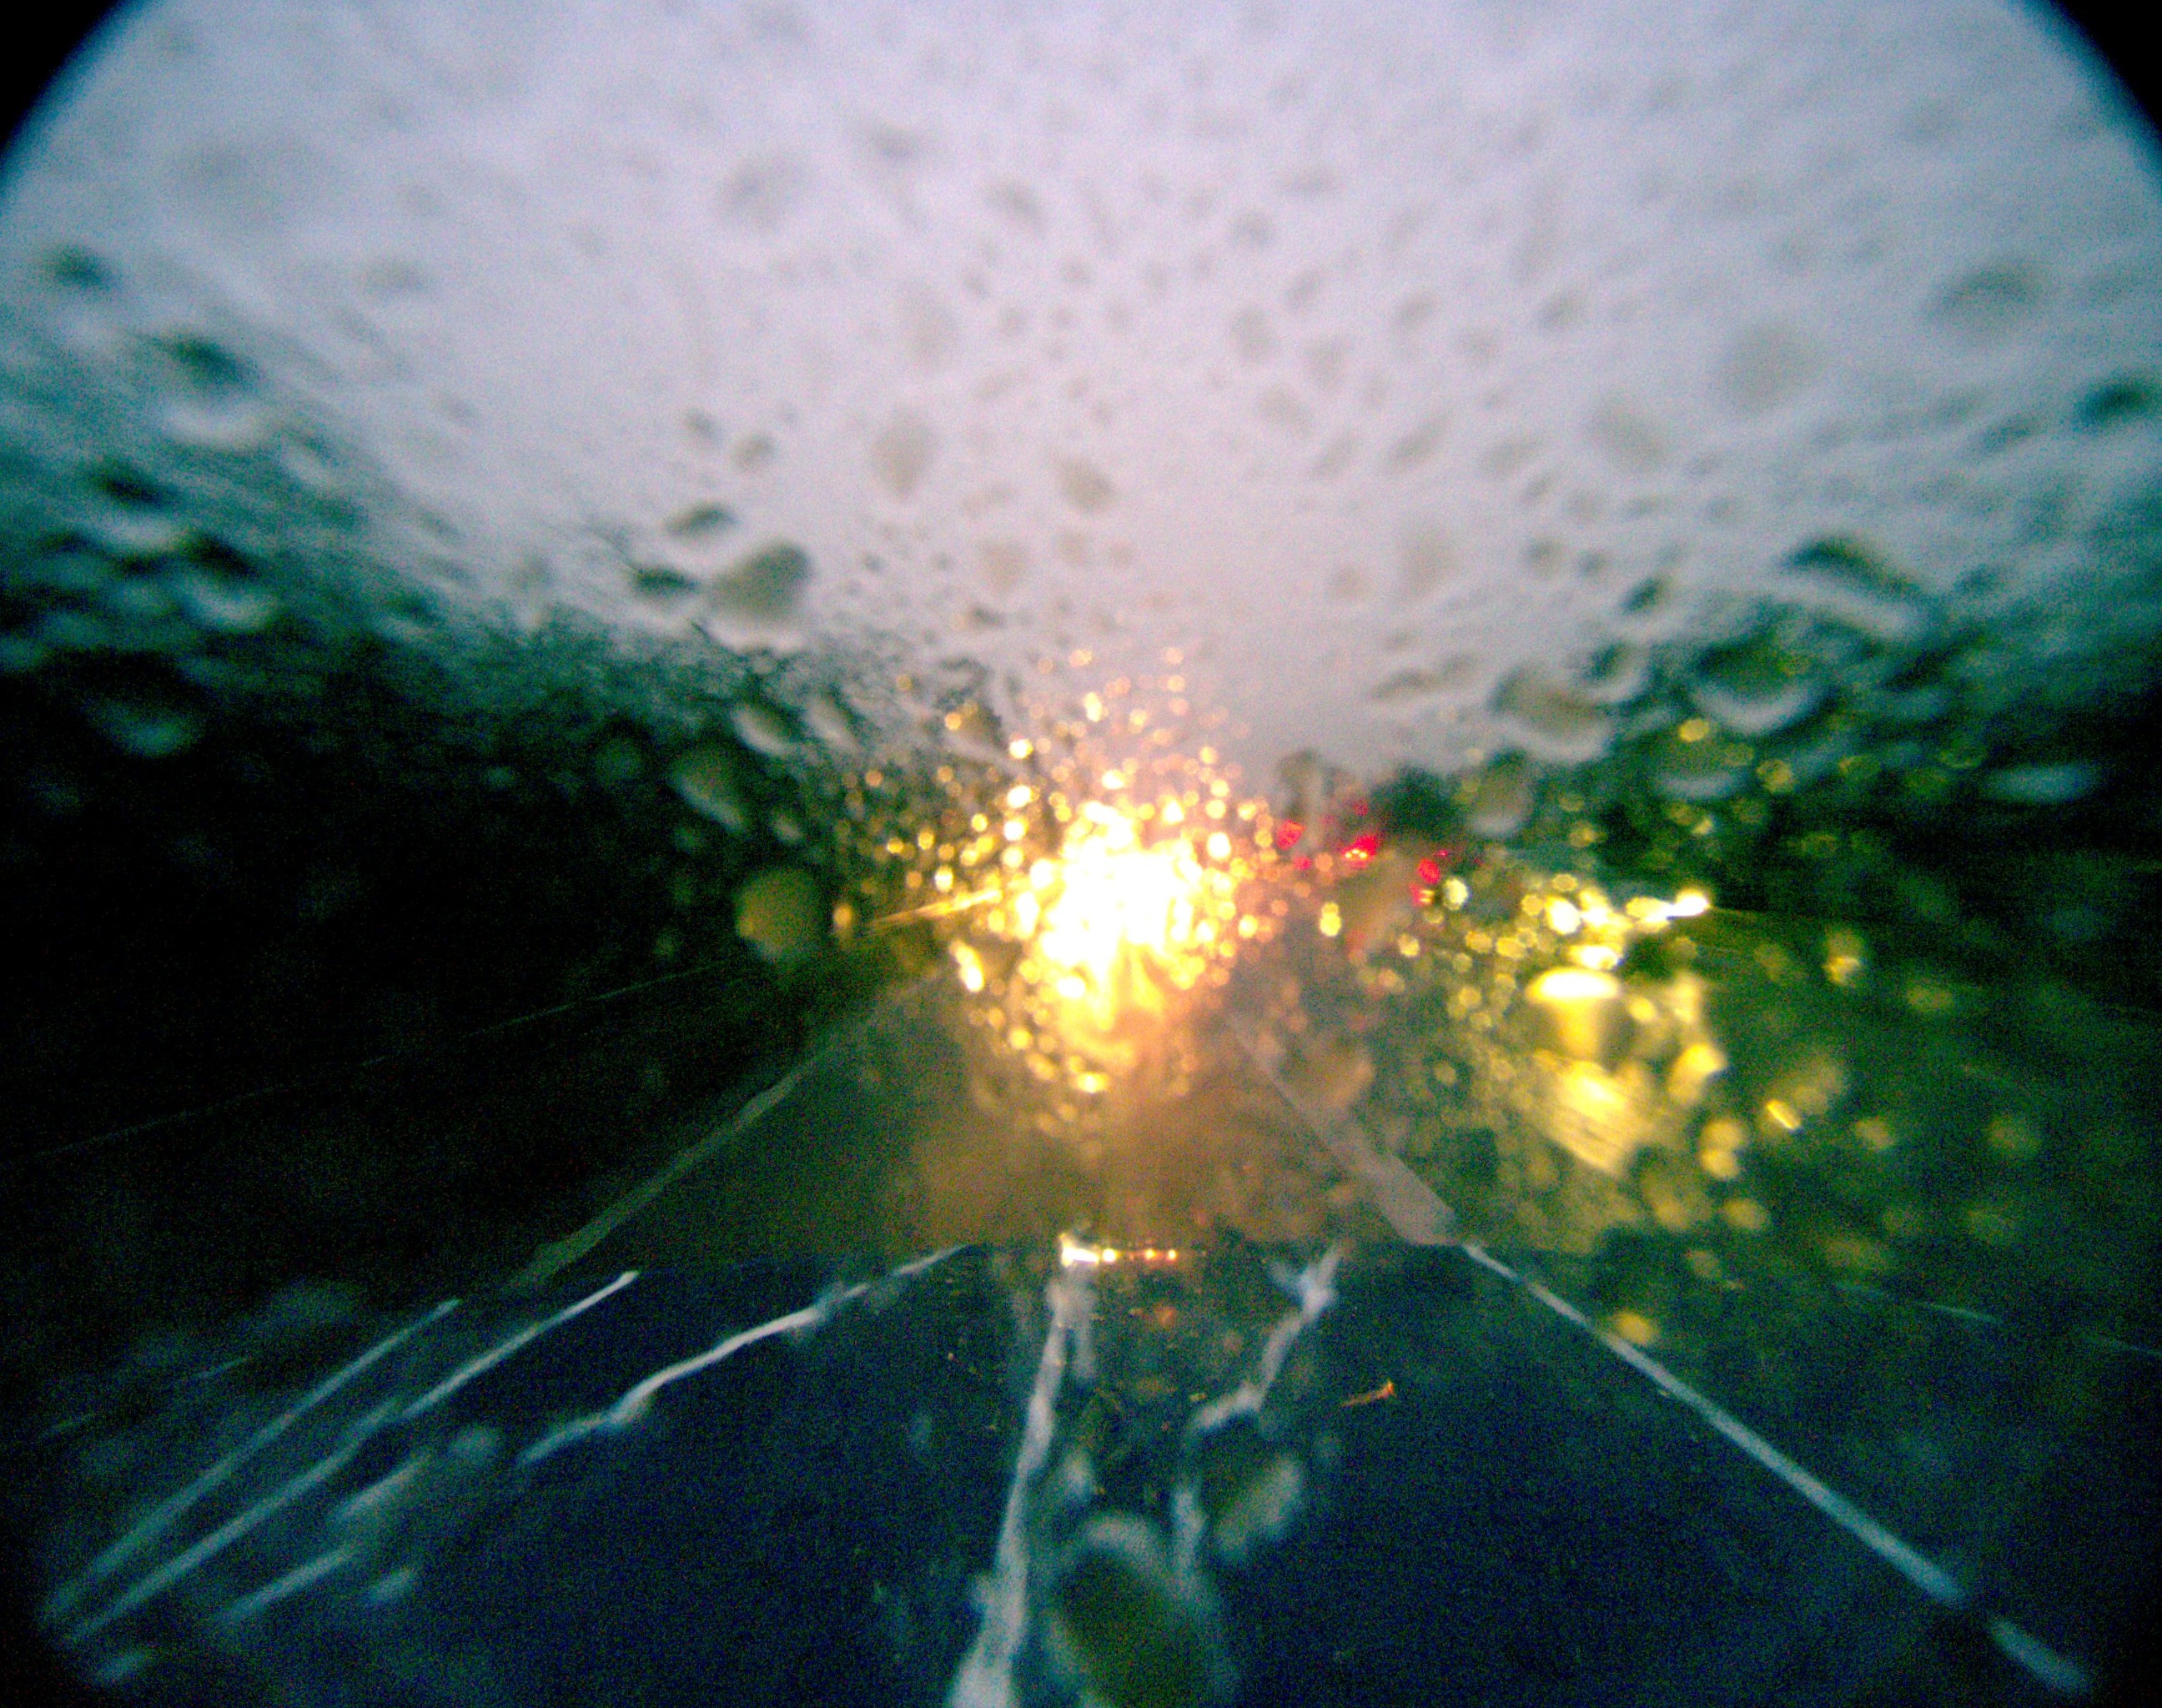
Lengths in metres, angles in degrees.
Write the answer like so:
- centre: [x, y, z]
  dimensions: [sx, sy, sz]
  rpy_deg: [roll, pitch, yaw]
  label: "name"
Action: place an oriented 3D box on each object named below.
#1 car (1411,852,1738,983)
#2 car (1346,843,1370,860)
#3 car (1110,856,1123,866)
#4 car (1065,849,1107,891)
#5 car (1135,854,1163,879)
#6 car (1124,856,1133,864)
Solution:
- centre: [6.831, 0.768, 11.237]
  dimensions: [1.803, 1.459, 4.413]
  rpy_deg: [-3, 0, -2]
  label: "car"
- centre: [26.487, -0.213, 72.820]
  dimensions: [1.746, 1.478, 4.004]
  rpy_deg: [-3, 0, 15]
  label: "car"
- centre: [4.505, 0.850, 96.224]
  dimensions: [1.482, 1.198, 3.350]
  rpy_deg: [-4, 0, 6]
  label: "car"
- centre: [0.287, 0.808, 39.087]
  dimensions: [1.998, 2.002, 3.964]
  rpy_deg: [-2, 0, 2]
  label: "car"
- centre: [4.594, 0.891, 51.611]
  dimensions: [1.654, 1.502, 3.876]
  rpy_deg: [4, -1, 3]
  label: "car"
- centre: [8.299, 1.015, 132.115]
  dimensions: [1.482, 1.198, 3.350]
  rpy_deg: [-4, 0, 4]
  label: "car"
